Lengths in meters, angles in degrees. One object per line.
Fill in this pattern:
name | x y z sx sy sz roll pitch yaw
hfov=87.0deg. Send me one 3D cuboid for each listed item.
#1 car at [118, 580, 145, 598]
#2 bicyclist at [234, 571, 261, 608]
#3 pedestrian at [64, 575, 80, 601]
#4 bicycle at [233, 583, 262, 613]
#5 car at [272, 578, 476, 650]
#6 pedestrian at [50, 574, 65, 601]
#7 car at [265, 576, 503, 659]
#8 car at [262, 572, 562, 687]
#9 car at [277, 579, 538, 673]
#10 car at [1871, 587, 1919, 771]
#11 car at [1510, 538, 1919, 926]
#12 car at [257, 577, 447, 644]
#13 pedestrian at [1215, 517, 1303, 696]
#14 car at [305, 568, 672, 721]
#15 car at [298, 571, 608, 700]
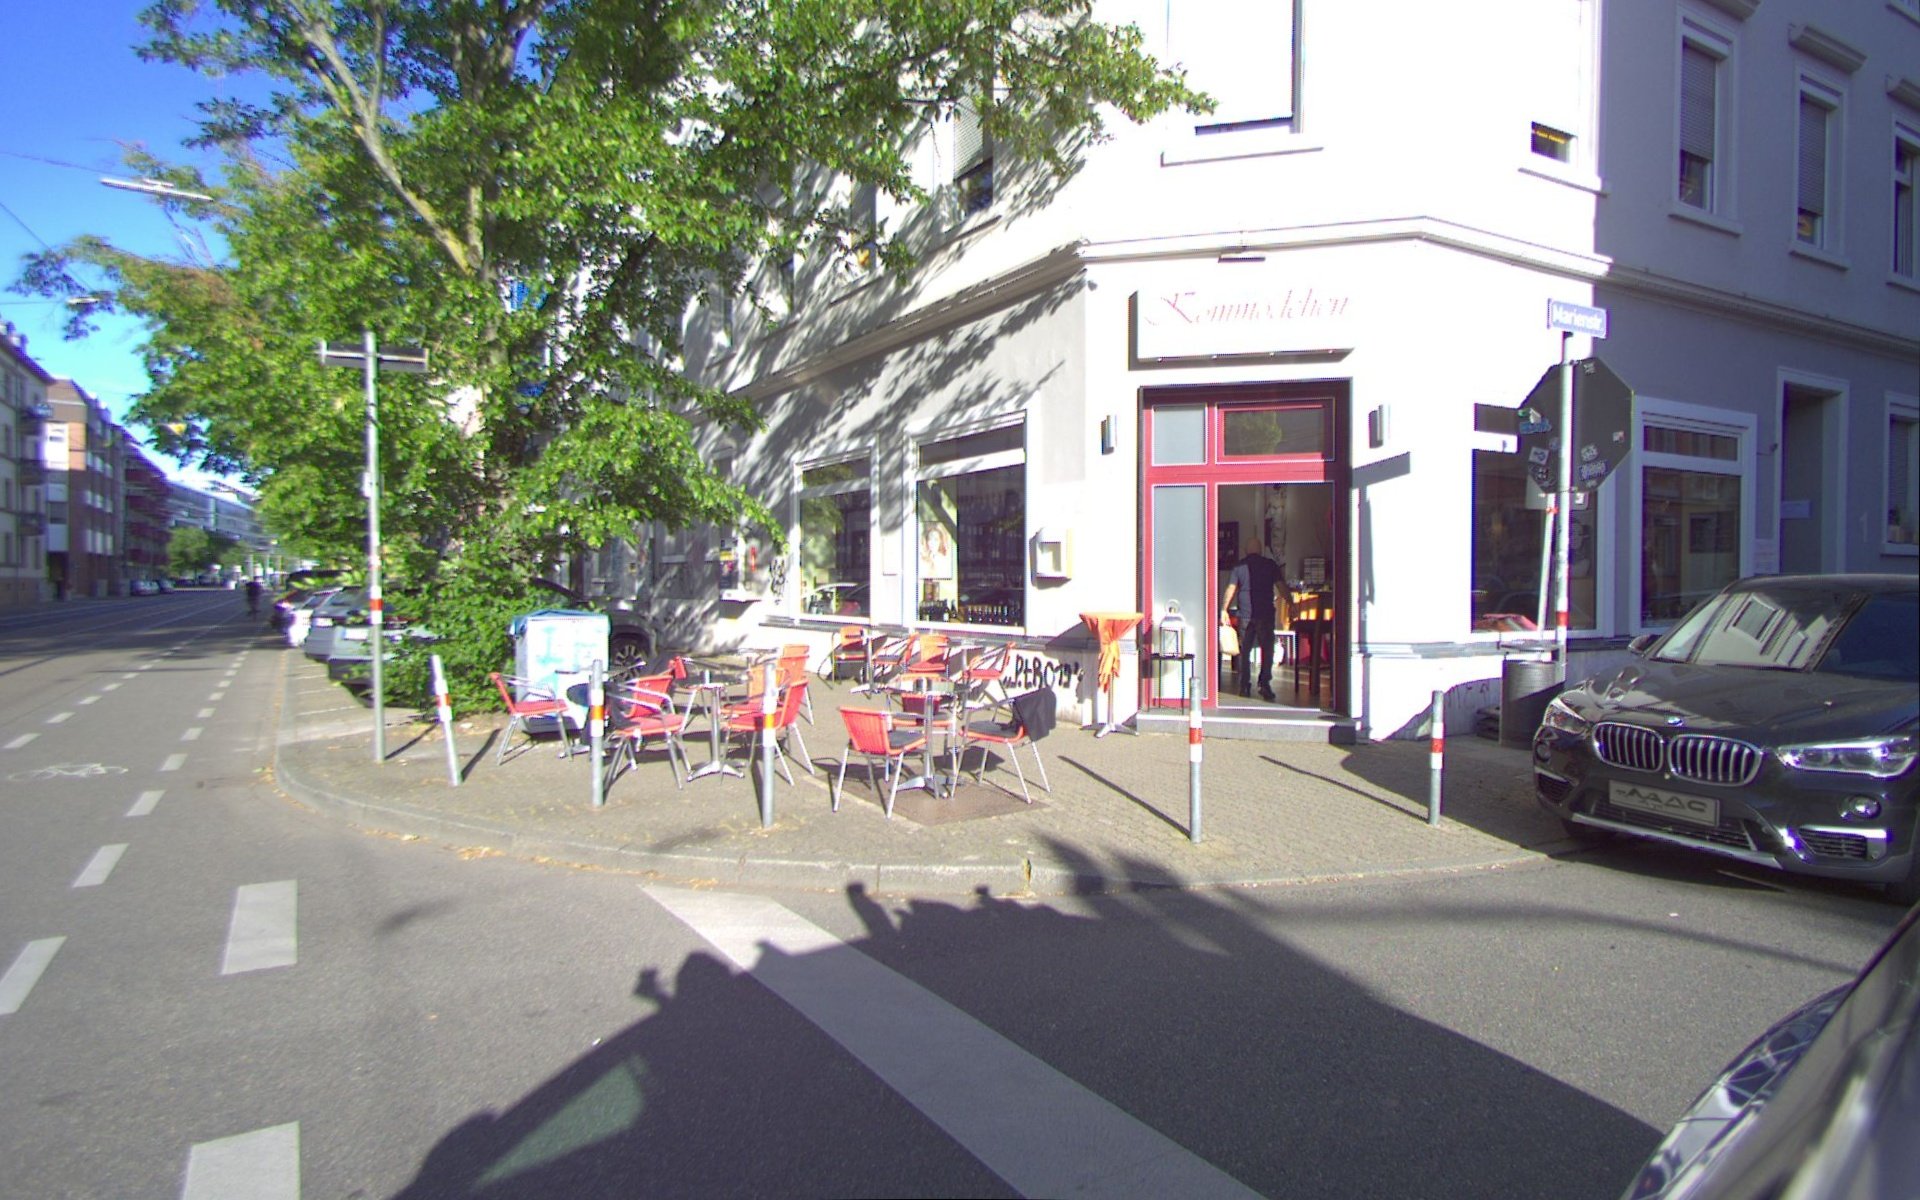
car | -81.736 -1.108 99.916 1.855 1.705 4.390 -1 0 -37
bicyclist | -28.991 -0.421 41.198 0.884 1.472 1.263 0 1 -34
pedestrian | -62.015 -0.836 70.662 0.724 1.861 0.696 0 0 -35
bicycle | -29.072 -0.097 41.314 0.884 1.179 3.249 0 1 -34
car | -14.147 0.271 24.552 4.063 1.506 1.618 -2 3 -40
pedestrian | -62.637 -0.880 70.232 0.724 1.861 0.696 0 0 -35
car | -12.067 0.282 21.407 1.614 1.506 4.075 2 3 41
car | -8.900 0.368 16.771 1.611 1.574 4.083 1 3 36
car | -10.461 0.406 19.391 1.614 1.506 4.074 2 3 42
car | 9.876 0.631 8.849 3.875 1.522 1.652 0 -1 -29
car | 5.474 0.567 6.178 4.113 1.683 1.768 0 -1 -29
car | -15.797 0.199 26.534 1.602 1.506 4.105 1 3 23
pedestrian | 3.173 0.055 10.813 0.852 1.822 0.848 0 0 15
car | -5.842 0.411 13.050 1.607 1.574 4.091 1 3 31
car | -7.362 0.393 15.190 1.602 1.574 4.105 1 3 23
